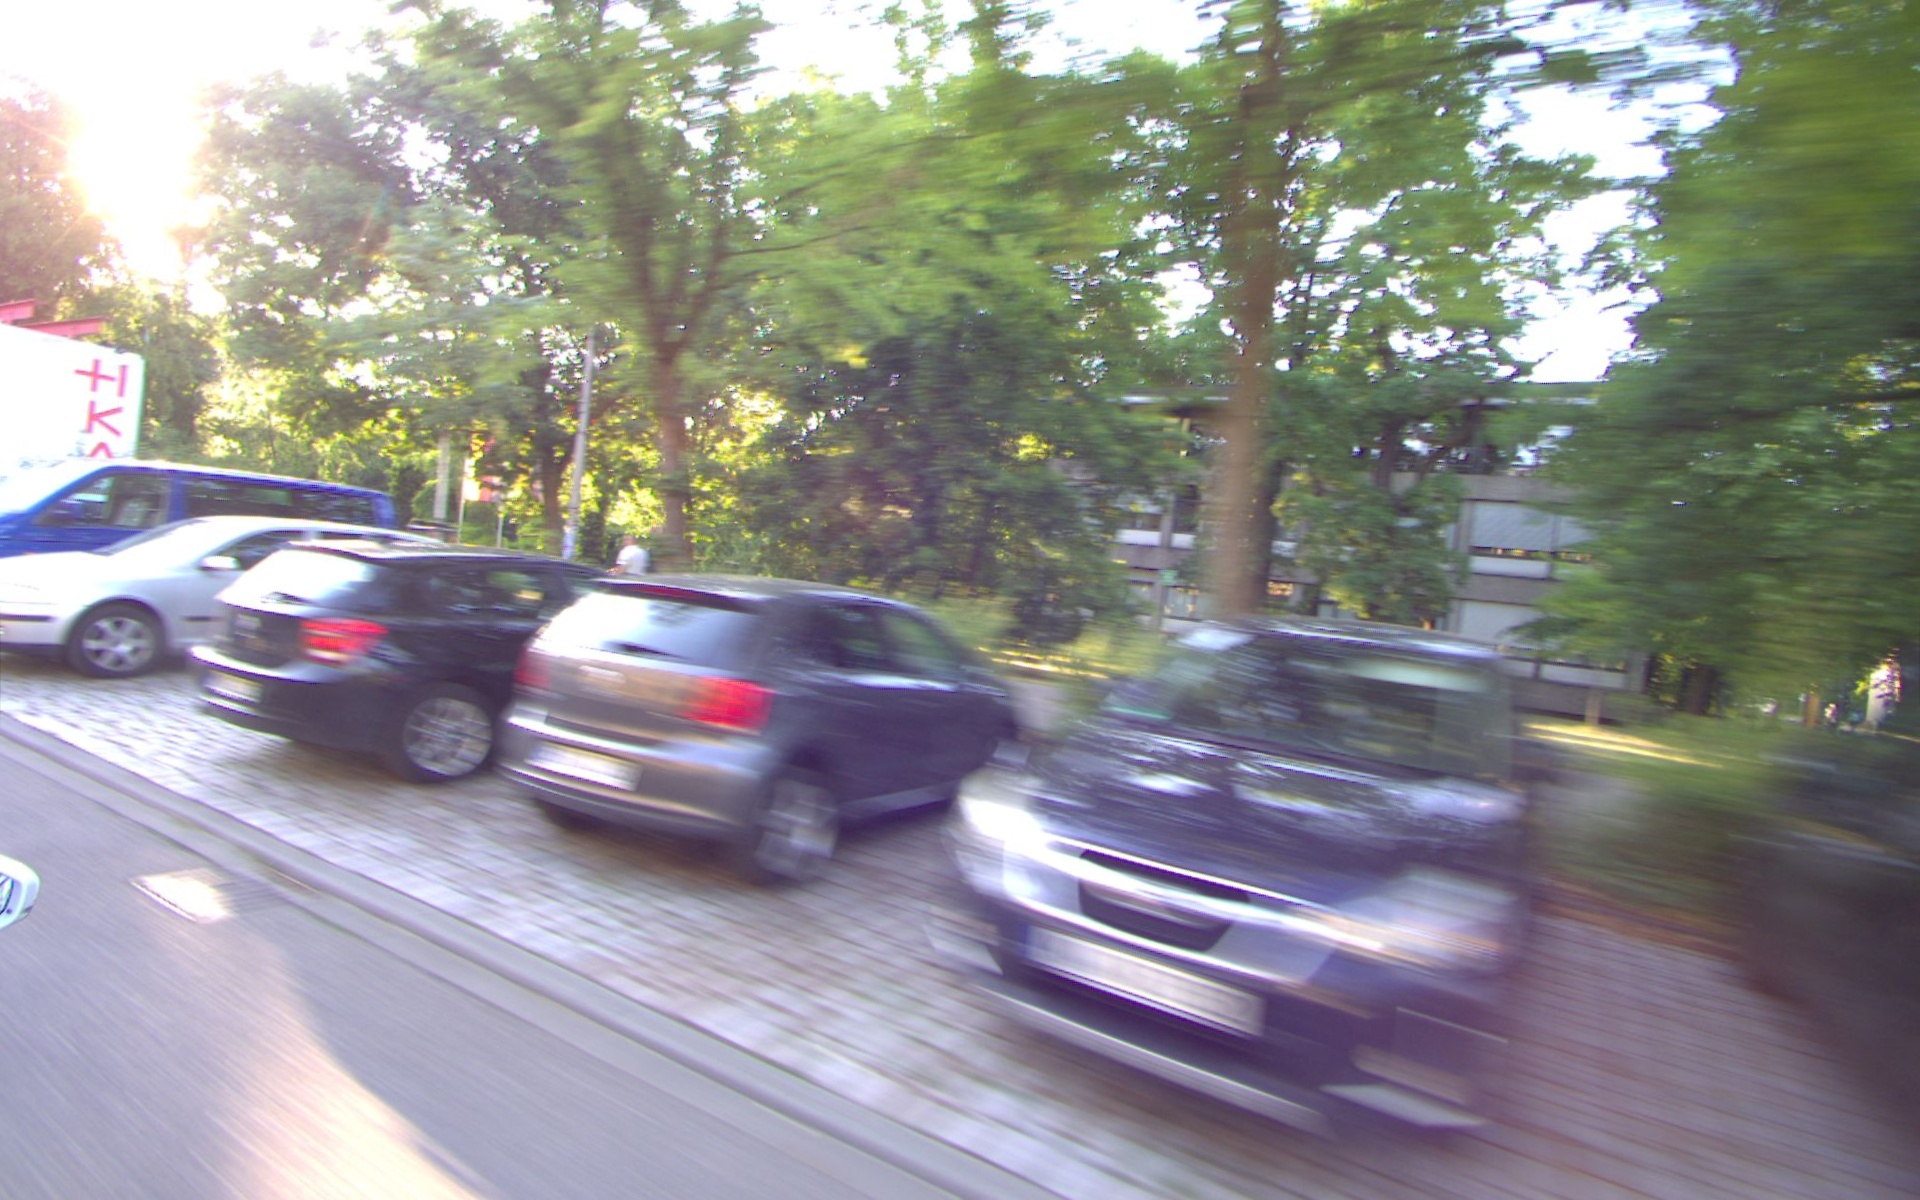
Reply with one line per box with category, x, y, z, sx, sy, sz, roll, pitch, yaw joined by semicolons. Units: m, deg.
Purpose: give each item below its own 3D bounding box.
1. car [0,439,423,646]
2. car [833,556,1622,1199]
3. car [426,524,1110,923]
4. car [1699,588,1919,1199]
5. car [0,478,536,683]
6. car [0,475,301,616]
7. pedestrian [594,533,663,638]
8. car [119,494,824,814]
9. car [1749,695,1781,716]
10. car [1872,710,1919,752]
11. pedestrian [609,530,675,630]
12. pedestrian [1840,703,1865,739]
car;-8.991;-0.582;11.325;1.884;1.941;4.855;7;2;30
car;1.567;0.812;4.439;1.844;1.574;4.365;7;2;30
car;-0.788;0.553;6.570;1.888;1.558;4.365;7;2;30
car;4.104;0.986;3.437;1.888;1.804;4.365;7;2;30
car;-7.069;-0.167;10.158;1.884;1.574;4.929;7;2;30
car;-11.479;-0.719;12.695;1.884;1.574;4.929;7;2;30
pedestrian;-6.052;-0.258;18.368;0.772;1.794;0.665;8;1;26
car;-3.176;0.296;7.526;1.888;1.558;4.365;7;2;30
car;92.201;12.034;115.279;1.966;2.039;3.994;7;0;29
car;40.395;5.607;42.587;1.708;1.495;3.992;7;0;31
pedestrian;-6.045;-0.372;19.128;0.776;1.794;0.648;7;1;27
pedestrian;50.139;6.791;56.538;0.709;1.861;0.739;7;1;29
